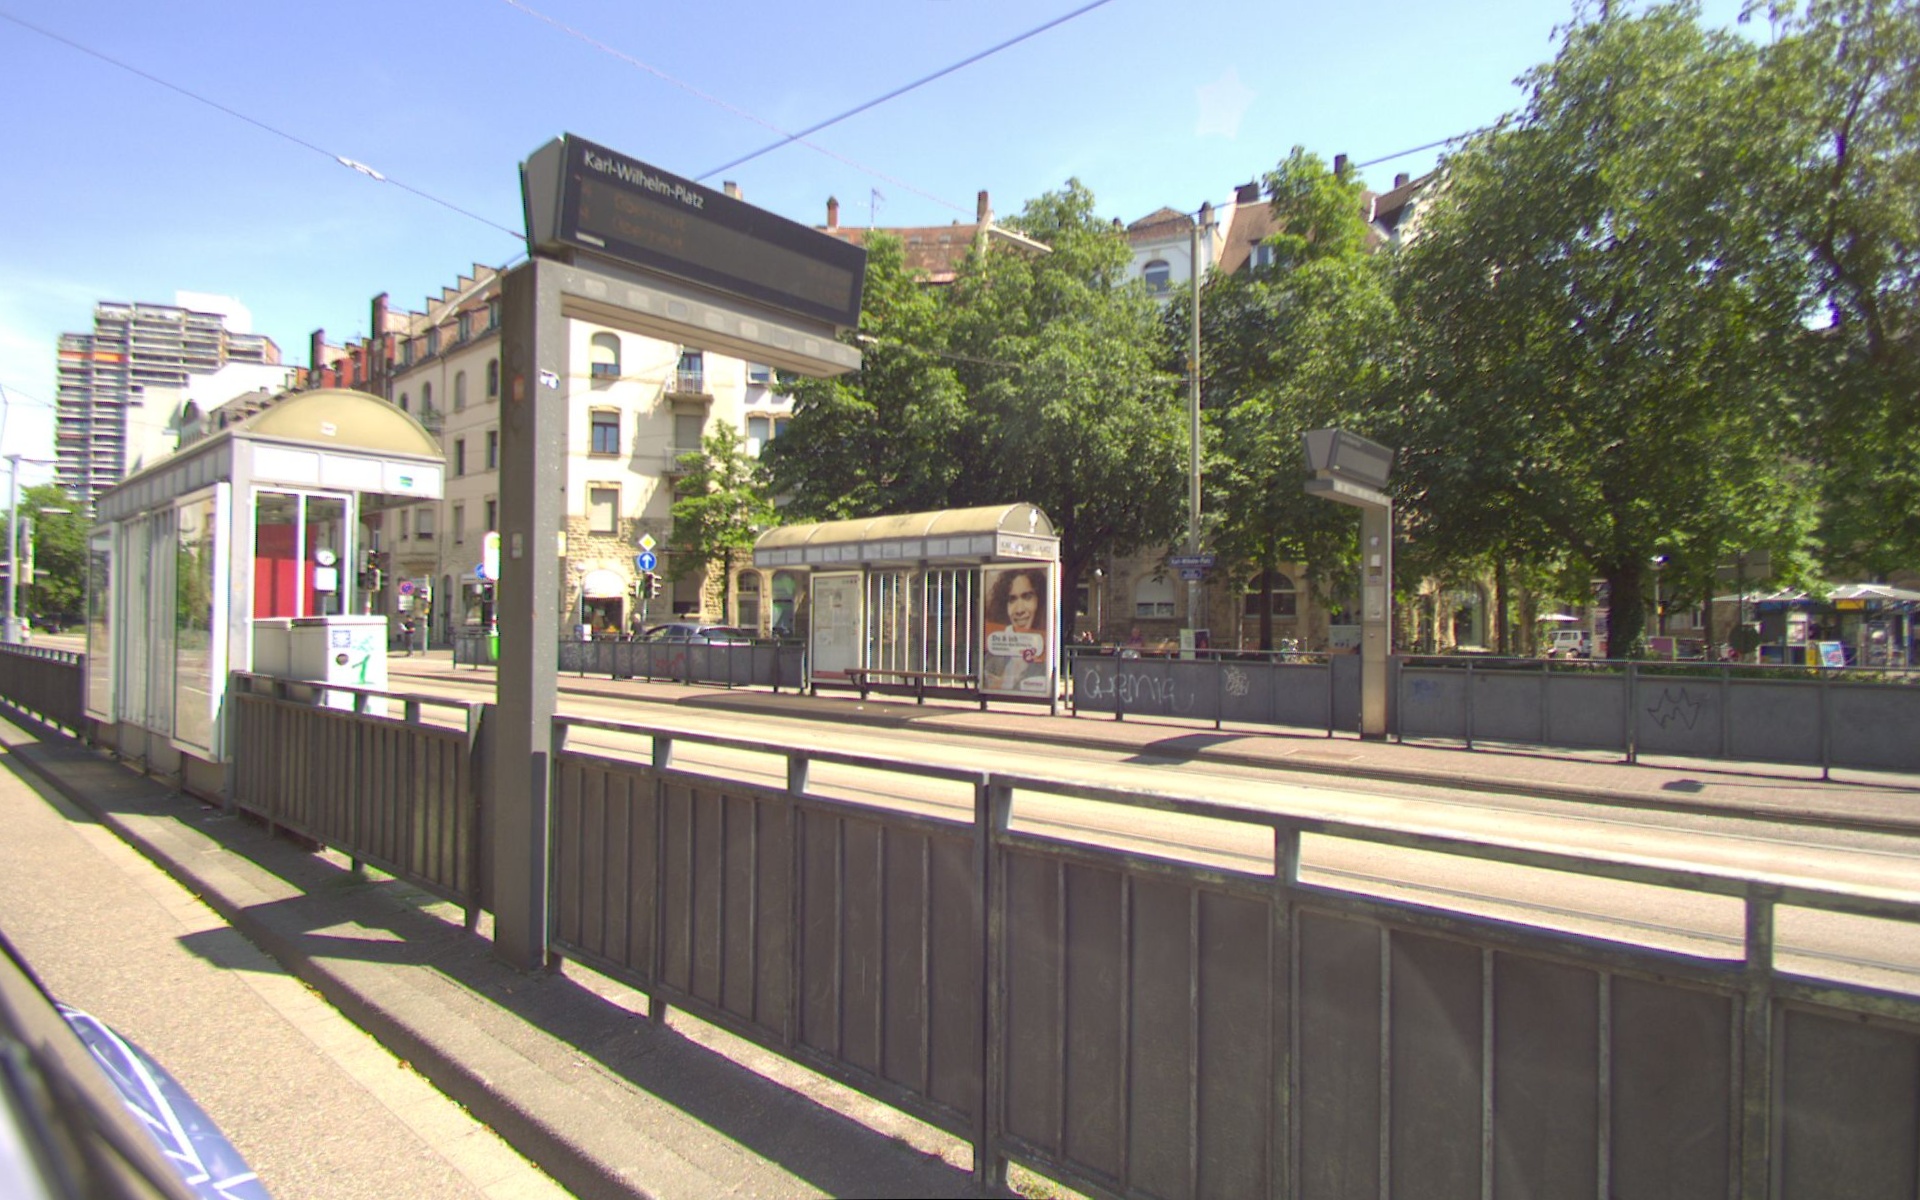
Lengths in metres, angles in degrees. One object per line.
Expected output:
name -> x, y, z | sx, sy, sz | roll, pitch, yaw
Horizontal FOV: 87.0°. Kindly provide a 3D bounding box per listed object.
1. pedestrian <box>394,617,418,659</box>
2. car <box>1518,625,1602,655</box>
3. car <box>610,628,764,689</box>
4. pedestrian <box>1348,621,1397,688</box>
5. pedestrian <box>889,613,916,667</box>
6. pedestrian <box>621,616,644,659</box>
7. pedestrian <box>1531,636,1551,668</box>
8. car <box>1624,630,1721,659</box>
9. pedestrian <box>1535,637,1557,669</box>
pedestrian -> -23.302, 1.588, 42.573 | 0.796, 1.733, 0.765 | 1, -2, -33
car -> 36.209, 2.404, 61.183 | 1.780, 1.711, 4.012 | 1, -2, -29
car -> -6.516, 1.332, 23.971 | 3.847, 1.320, 1.675 | -1, -2, 41
pedestrian -> 8.448, 1.097, 20.729 | 0.811, 1.327, 0.653 | 2, -2, -43
pedestrian -> -1.570, 1.093, 27.600 | 0.519, 1.452, 0.531 | -1, -2, 32
pedestrian -> -11.285, 1.283, 34.855 | 0.519, 1.452, 0.531 | -1, -2, 33
pedestrian -> 25.065, 2.225, 43.653 | 0.701, 1.360, 0.596 | -1, -3, 35
car -> 39.007, 2.412, 55.529 | 1.665, 1.512, 4.012 | 1, -2, -29
pedestrian -> 25.932, 2.338, 44.766 | 0.691, 1.360, 0.605 | 2, -3, -37
